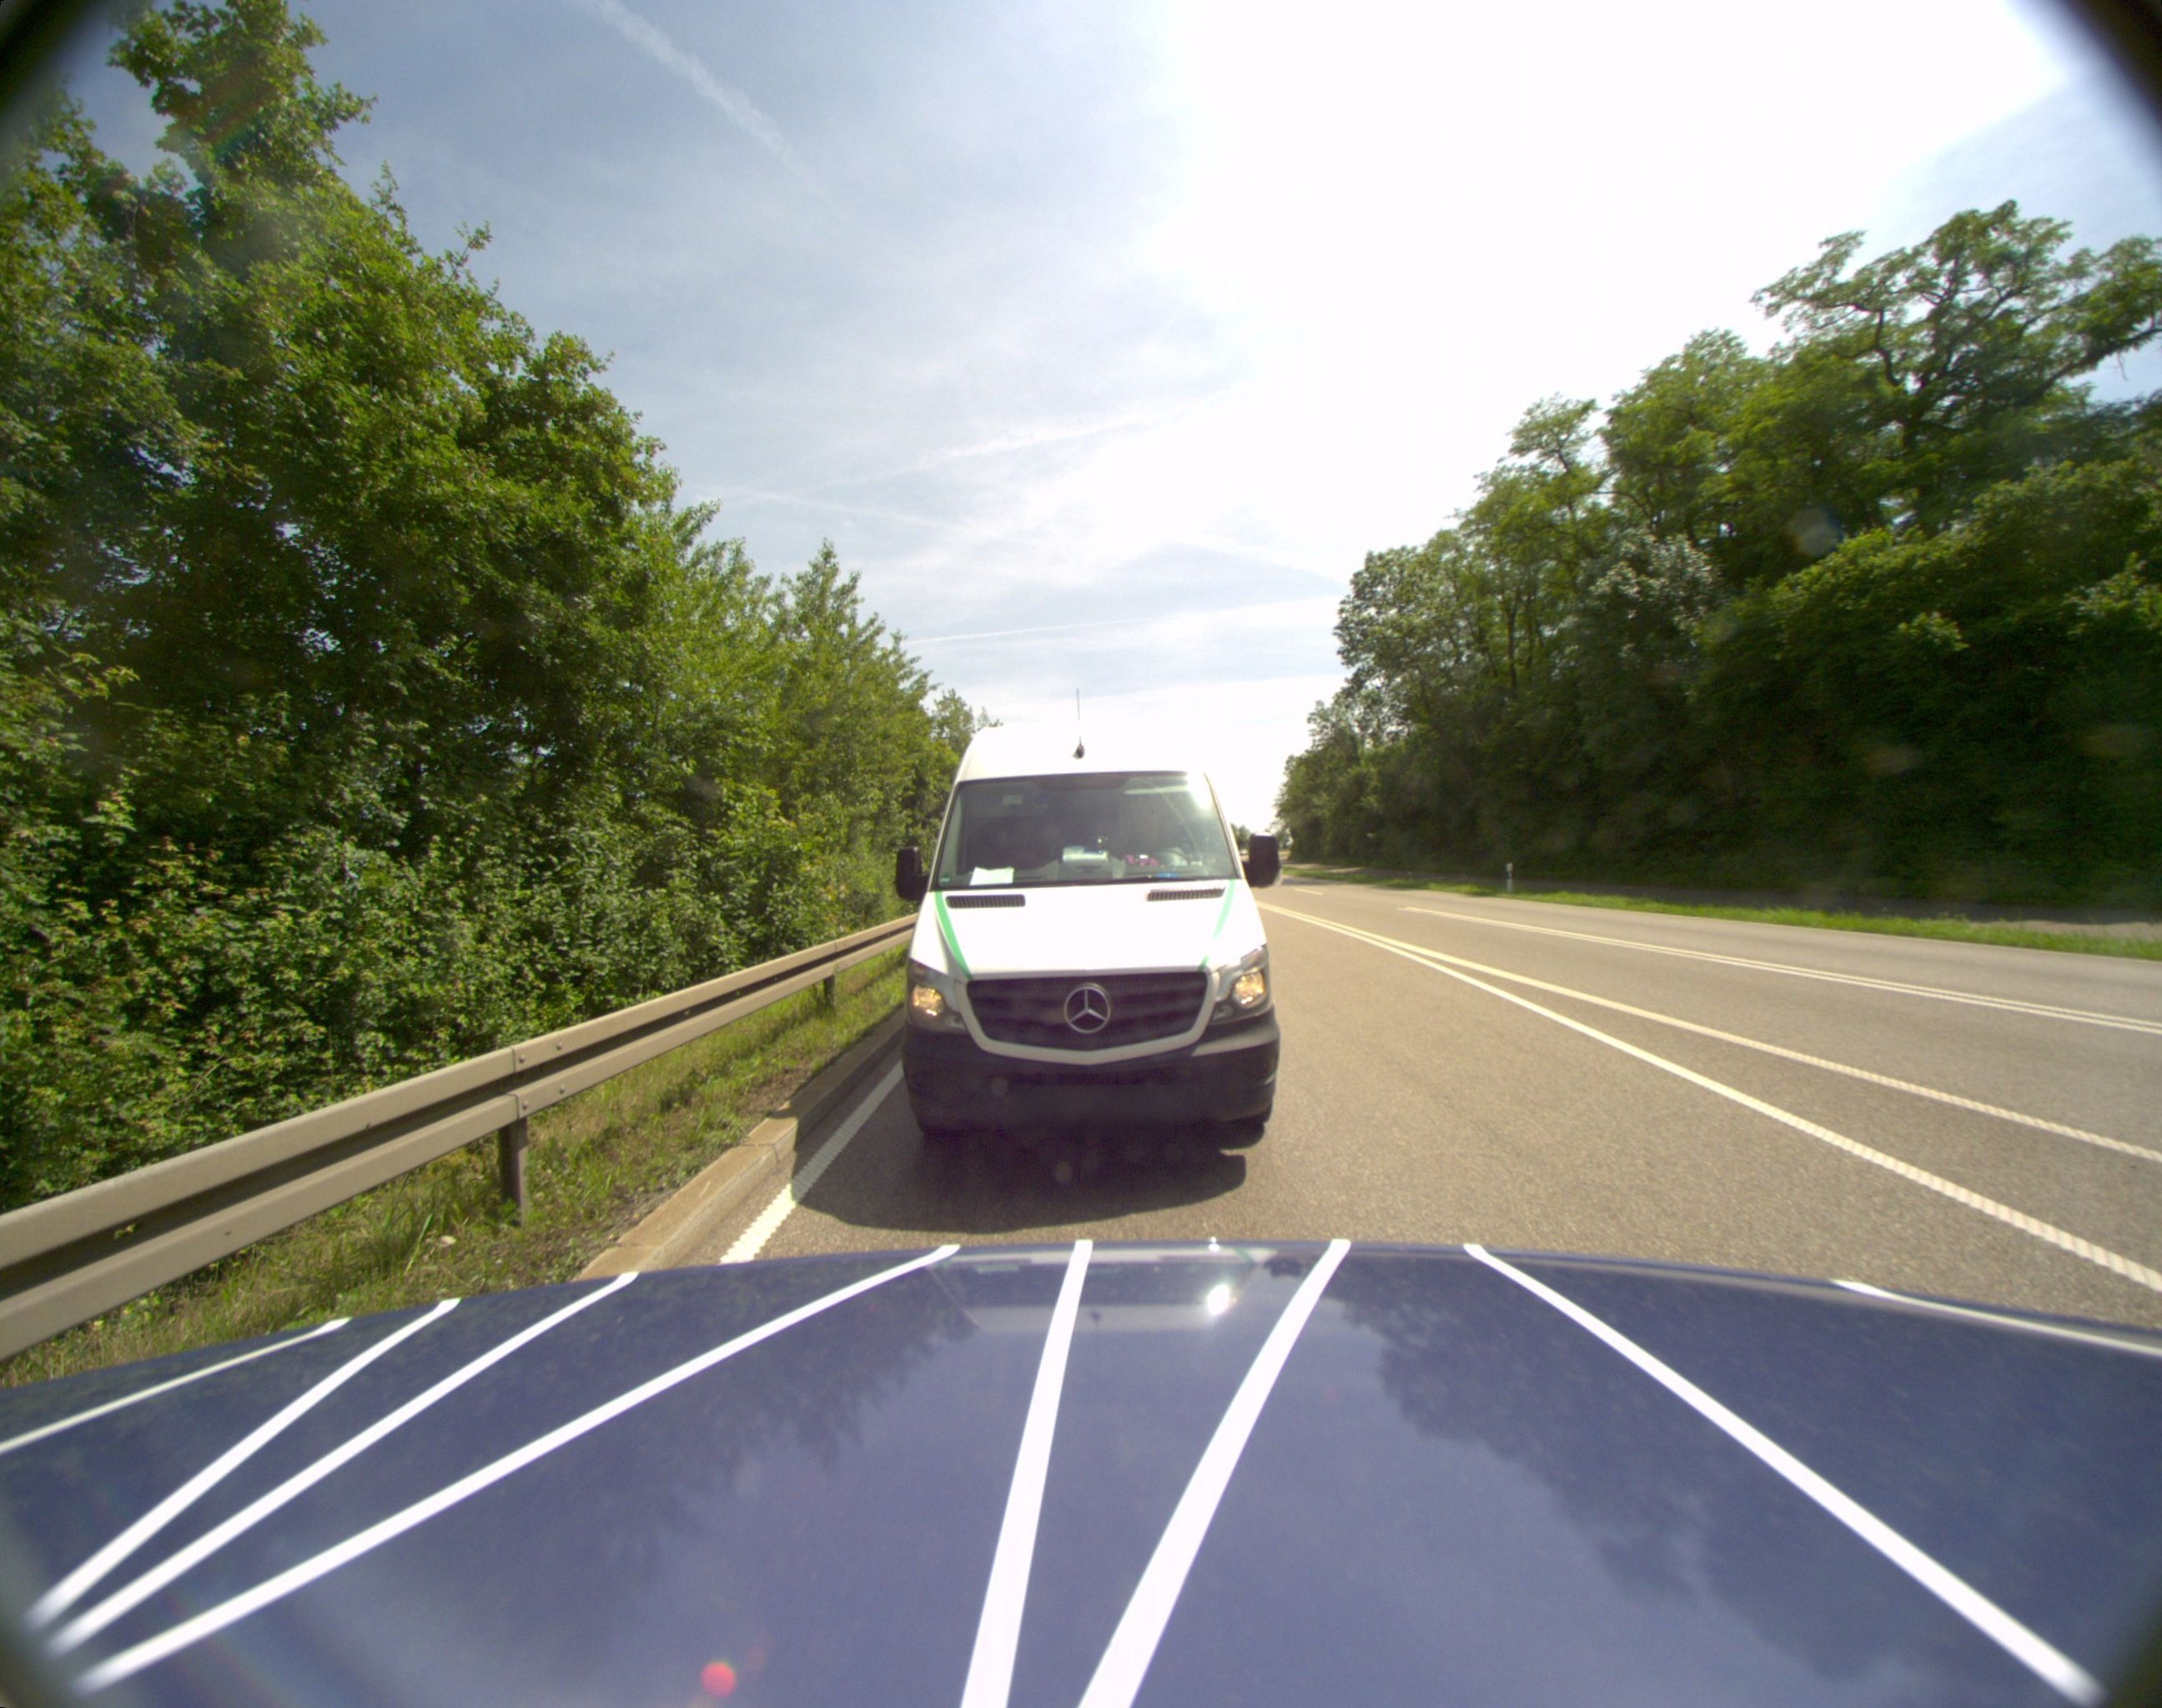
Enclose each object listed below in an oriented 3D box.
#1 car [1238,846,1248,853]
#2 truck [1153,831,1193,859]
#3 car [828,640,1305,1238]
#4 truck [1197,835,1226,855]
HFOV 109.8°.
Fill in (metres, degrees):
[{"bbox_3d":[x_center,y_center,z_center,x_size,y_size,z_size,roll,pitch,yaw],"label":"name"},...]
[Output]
[{"bbox_3d":[45.498,-1.214,212.856,1.853,2.002,3.894,-2,1,24],"label":"car"},{"bbox_3d":[16.184,-1.551,132.274,4.393,4.433,14.728,-2,0,16],"label":"truck"},{"bbox_3d":[0.017,0.378,5.878,1.958,2.502,5.267,-2,0,2],"label":"car"},{"bbox_3d":[30.640,-2.056,178.120,3.980,4.433,14.360,-2,0,20],"label":"truck"}]
